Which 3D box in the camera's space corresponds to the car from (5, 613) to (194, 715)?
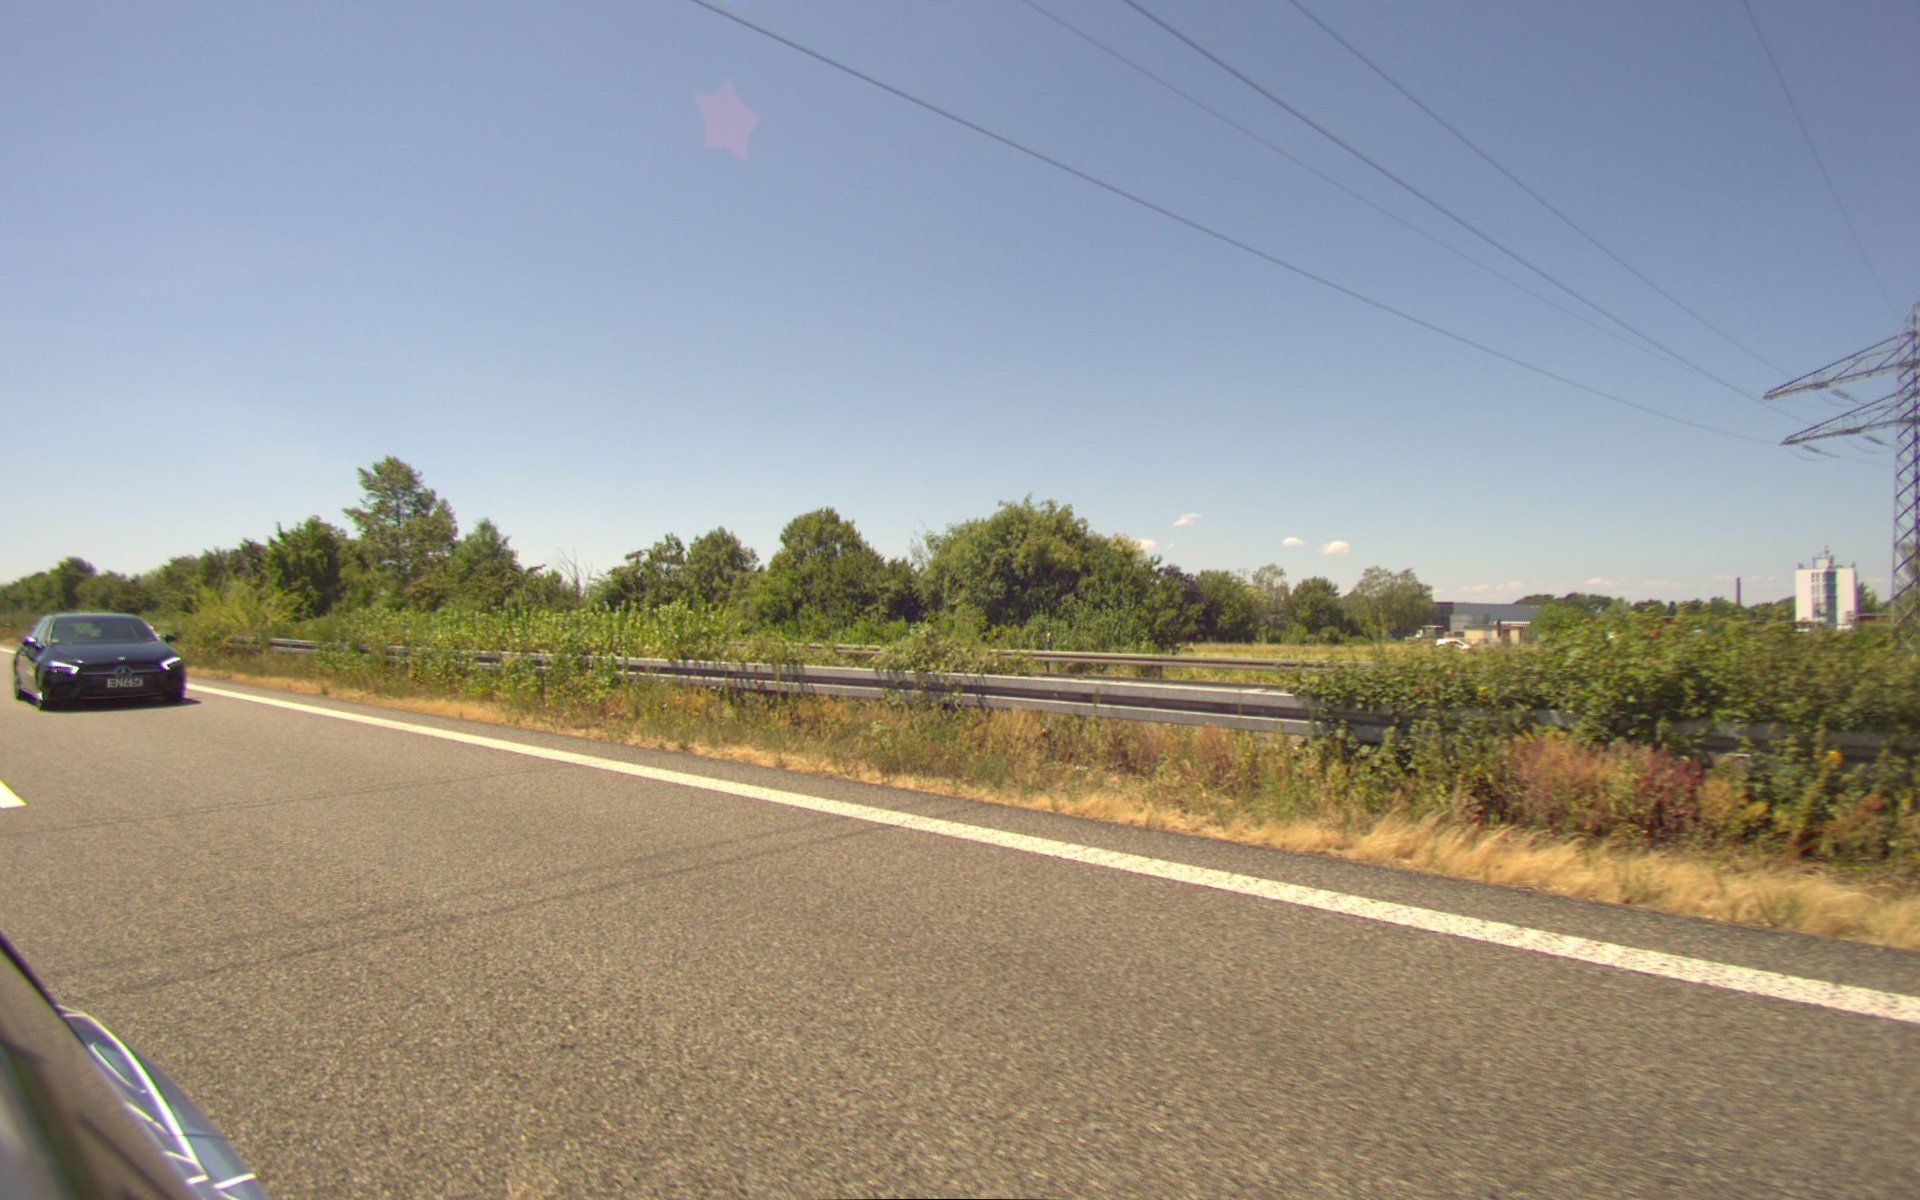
[{"bbox_3d":[-14.124,0.954,16.531,4.050,1.422,1.773,-1,0,41],"label":"car"}]
